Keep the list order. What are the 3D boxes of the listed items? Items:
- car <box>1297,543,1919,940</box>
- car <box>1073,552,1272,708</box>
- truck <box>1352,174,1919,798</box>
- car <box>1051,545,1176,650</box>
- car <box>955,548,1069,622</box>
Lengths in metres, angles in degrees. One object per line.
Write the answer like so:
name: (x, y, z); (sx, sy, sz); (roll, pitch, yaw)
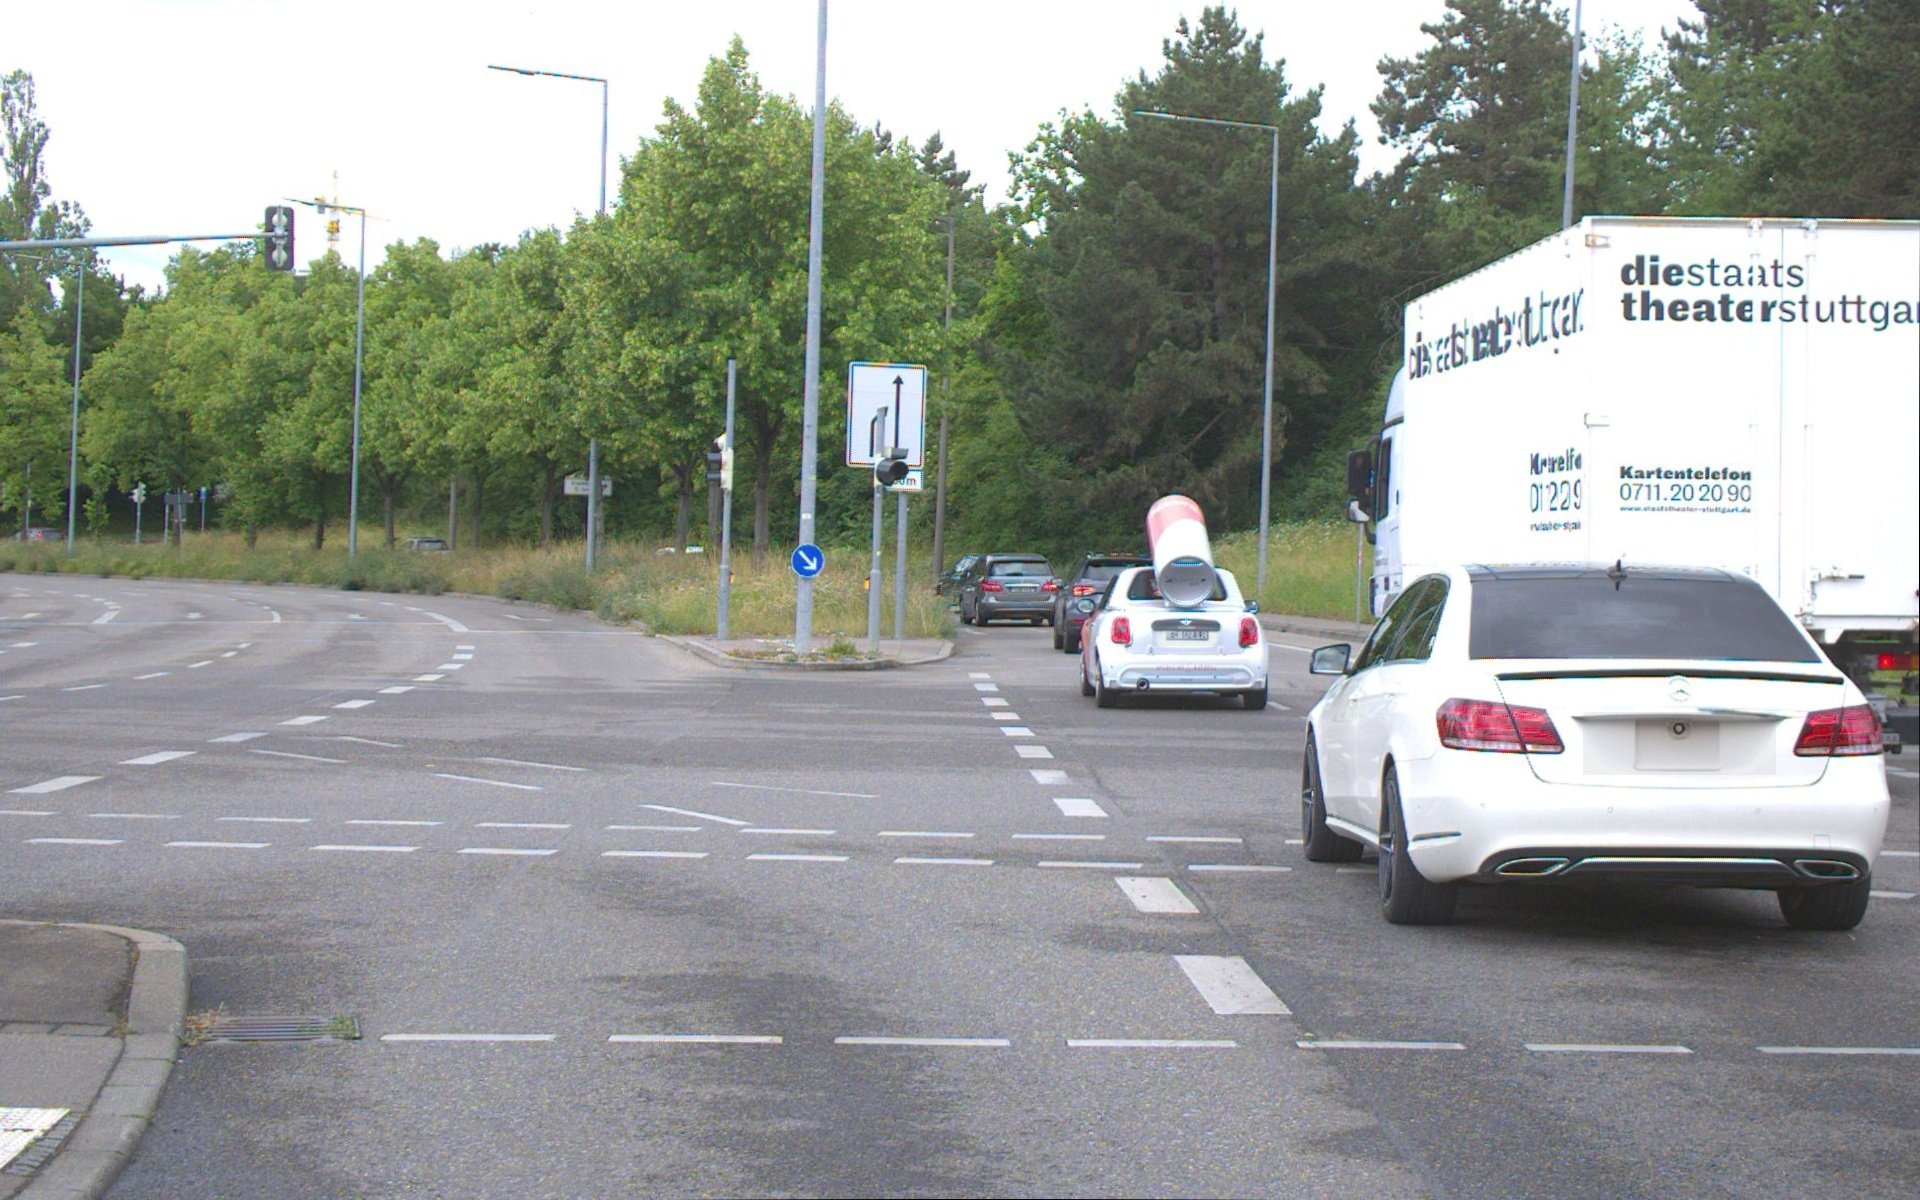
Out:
car: (2.573, 0.492, 14.533); (1.799, 1.407, 4.317); (1, 0, -1)
car: (2.141, 0.277, 35.418); (1.821, 1.501, 3.494); (1, 0, 0)
truck: (5.165, -0.833, 26.703); (2.802, 3.890, 10.183); (1, 1, -1)
car: (2.296, -0.065, 52.226); (1.624, 1.488, 3.838); (1, 1, -1)
car: (1.071, -0.336, 72.878); (1.746, 1.503, 4.049); (1, 1, -9)
